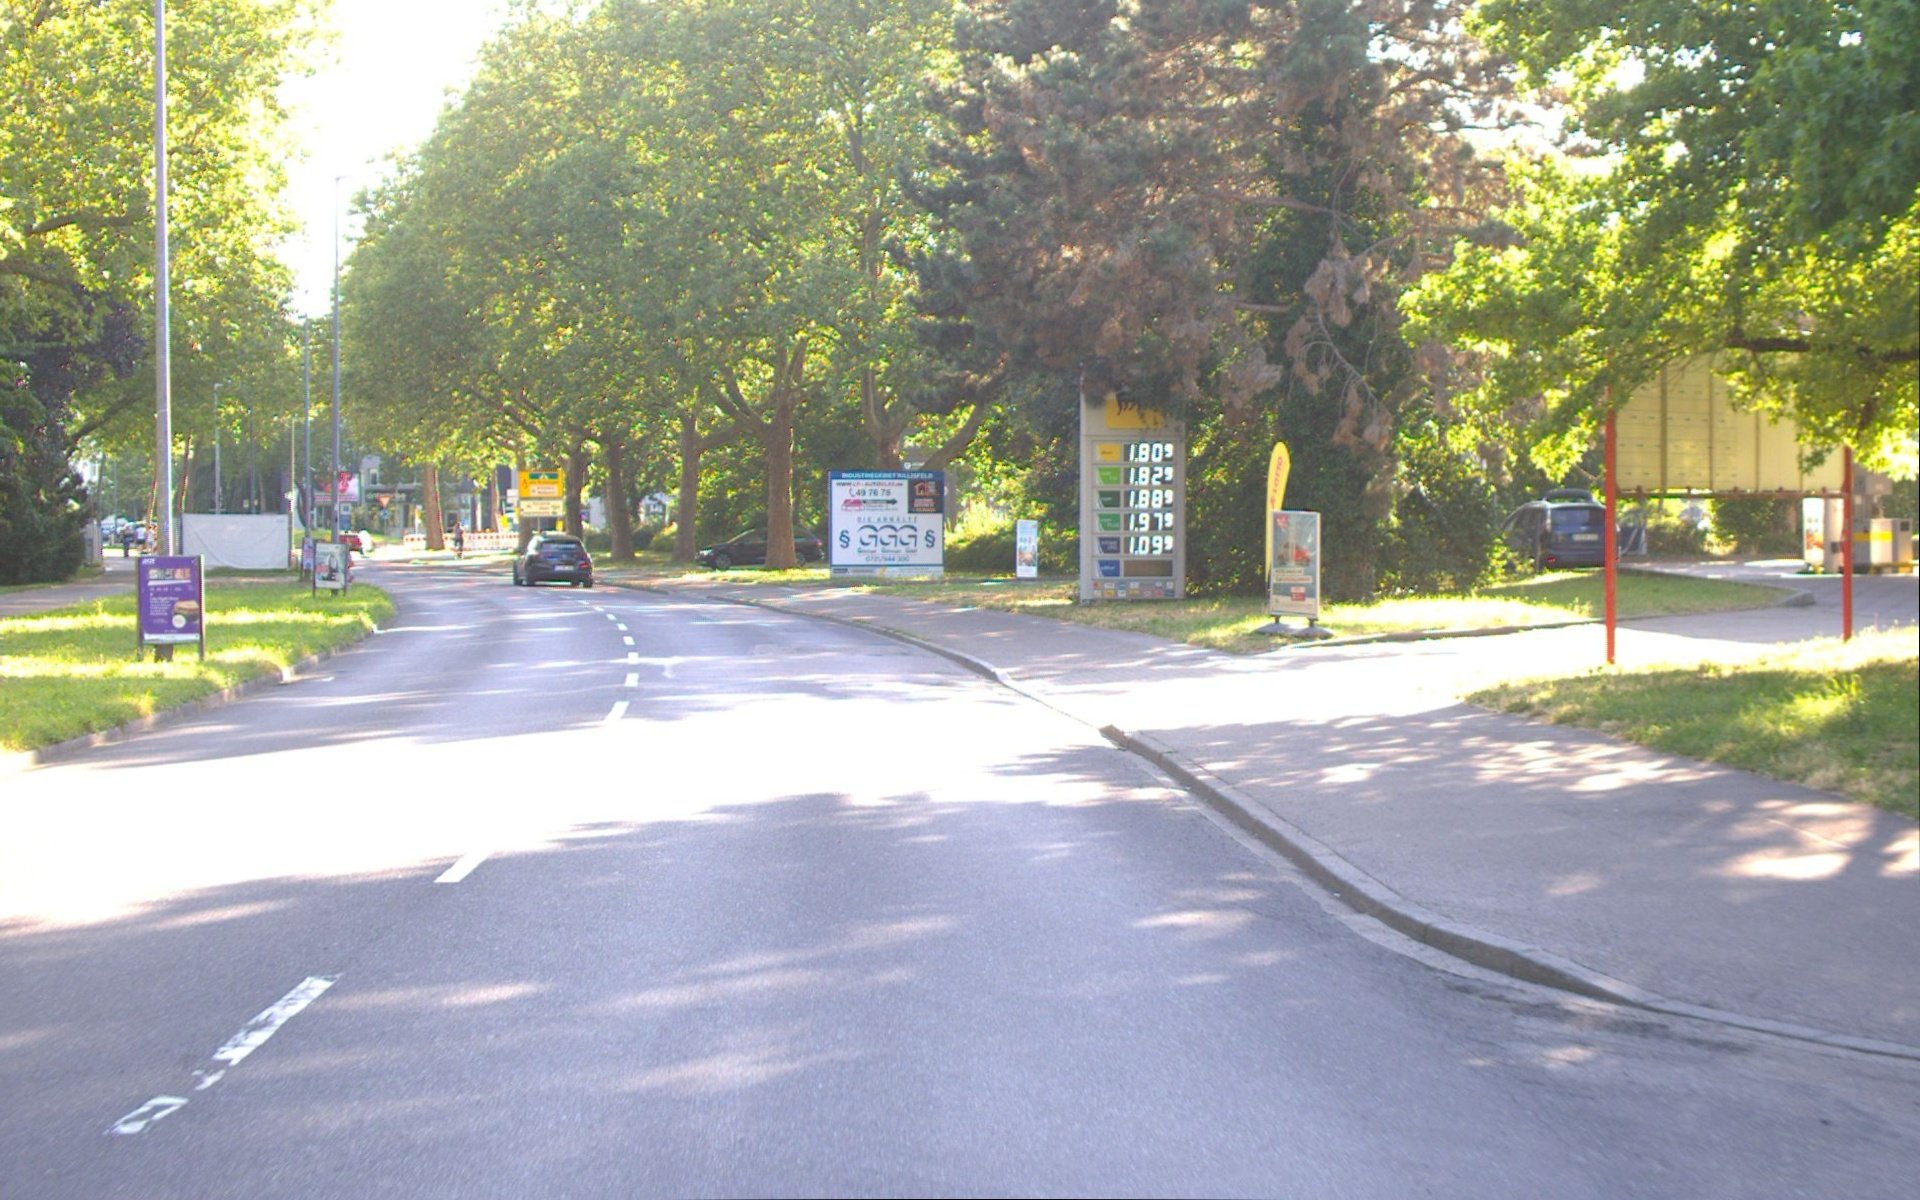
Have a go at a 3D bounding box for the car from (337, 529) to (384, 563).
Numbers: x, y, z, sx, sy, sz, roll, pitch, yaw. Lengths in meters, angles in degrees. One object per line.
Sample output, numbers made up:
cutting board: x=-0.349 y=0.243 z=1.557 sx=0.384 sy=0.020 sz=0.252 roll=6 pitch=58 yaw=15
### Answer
car: x=-36.011 y=-3.229 z=206.653 sx=1.994 sy=2.007 sz=4.000 roll=0 pitch=1 yaw=2

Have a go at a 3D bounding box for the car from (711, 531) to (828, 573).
car: x=-6.842 y=-1.723 z=123.241 sx=3.986 sy=1.438 sz=1.761 roll=-1 pitch=1 yaw=-11

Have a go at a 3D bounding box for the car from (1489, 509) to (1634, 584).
car: x=11.709 y=-1.064 z=67.183 sx=1.841 sy=1.415 sz=4.001 roll=0 pitch=1 yaw=-5

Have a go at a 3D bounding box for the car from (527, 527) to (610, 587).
car: x=-10.708 y=-1.188 z=94.168 sx=1.839 sy=1.600 sz=3.863 roll=0 pitch=1 yaw=0
